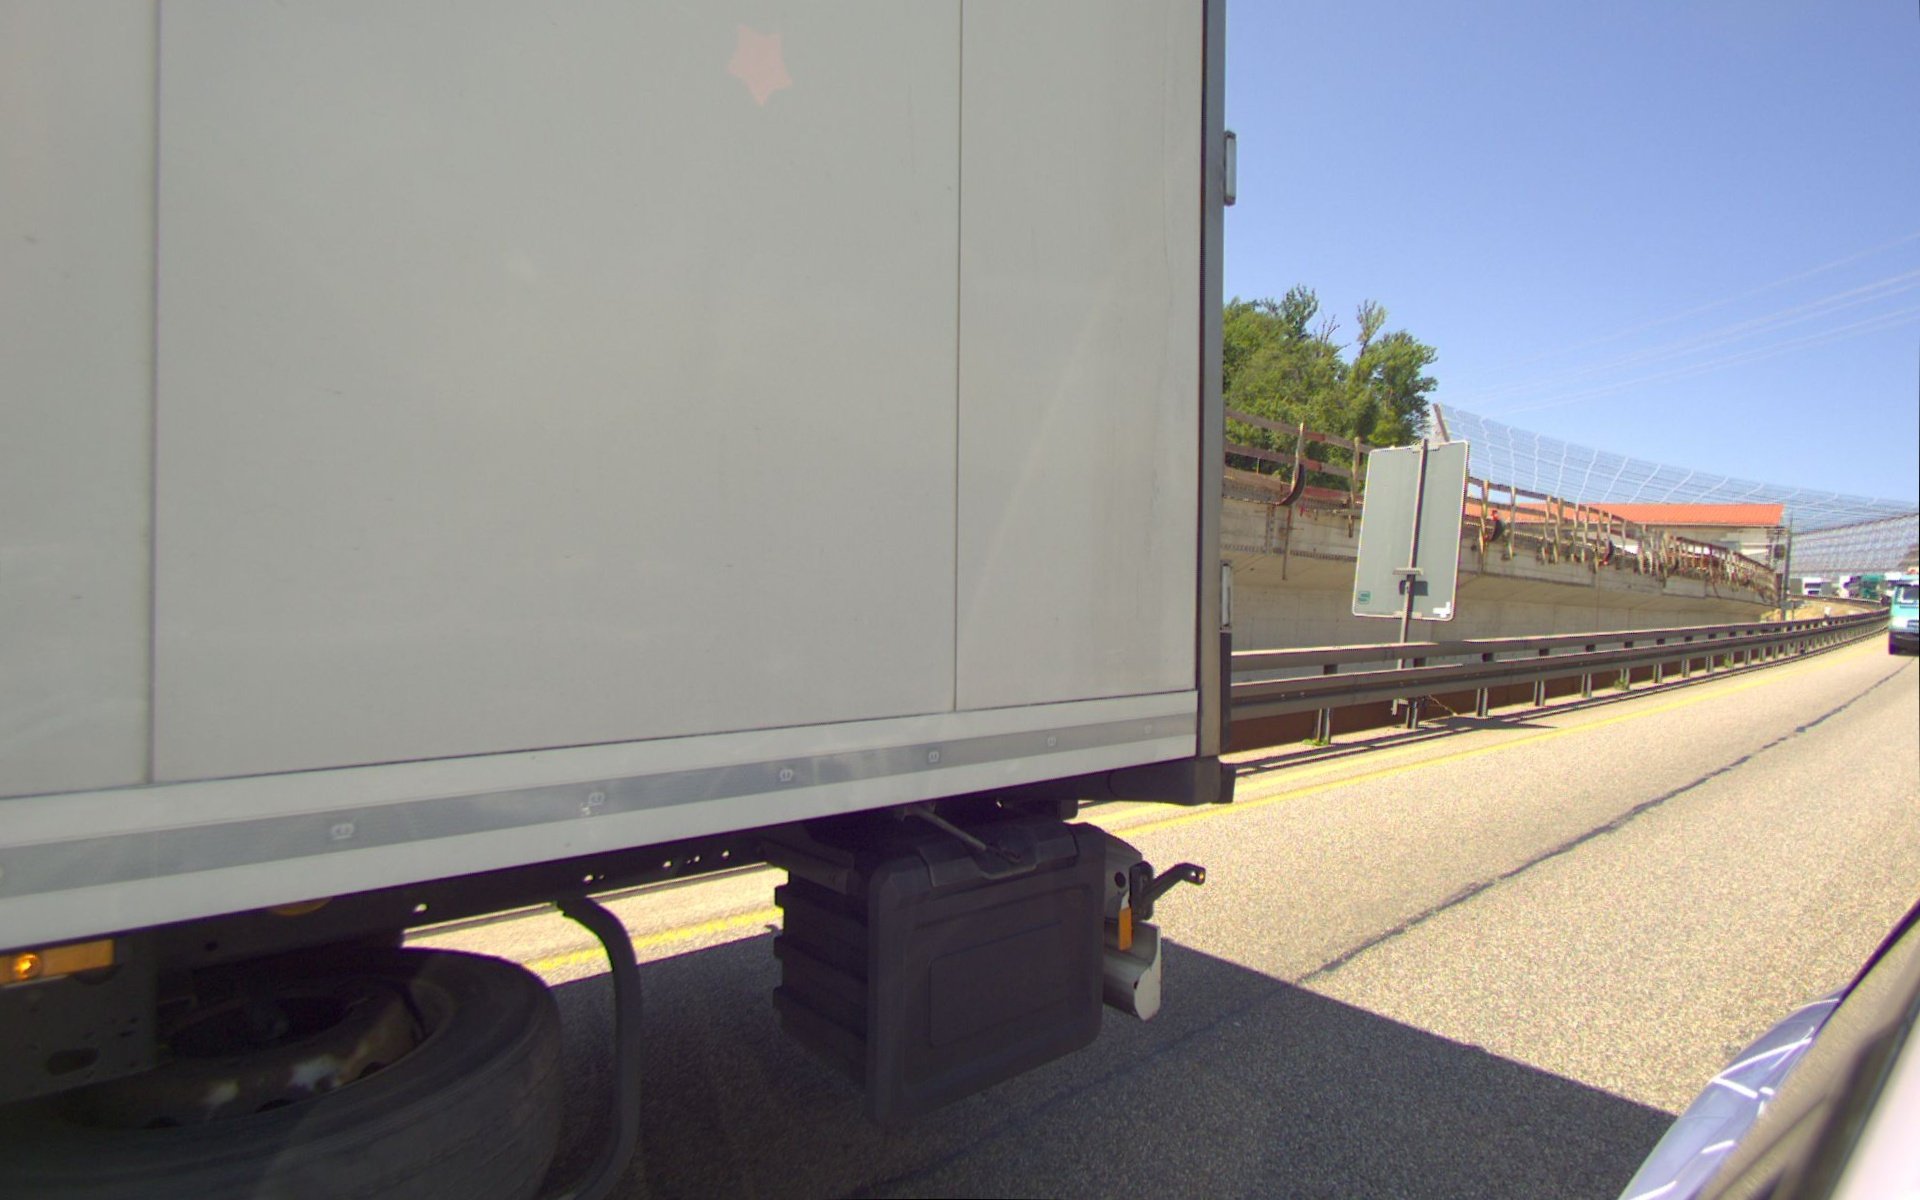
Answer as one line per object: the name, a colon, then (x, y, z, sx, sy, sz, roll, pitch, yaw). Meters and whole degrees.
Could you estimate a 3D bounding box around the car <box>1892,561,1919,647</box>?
car: (28.925, 0.085, 29.365, 6.785, 2.355, 2.214, -1, 1, -42)
